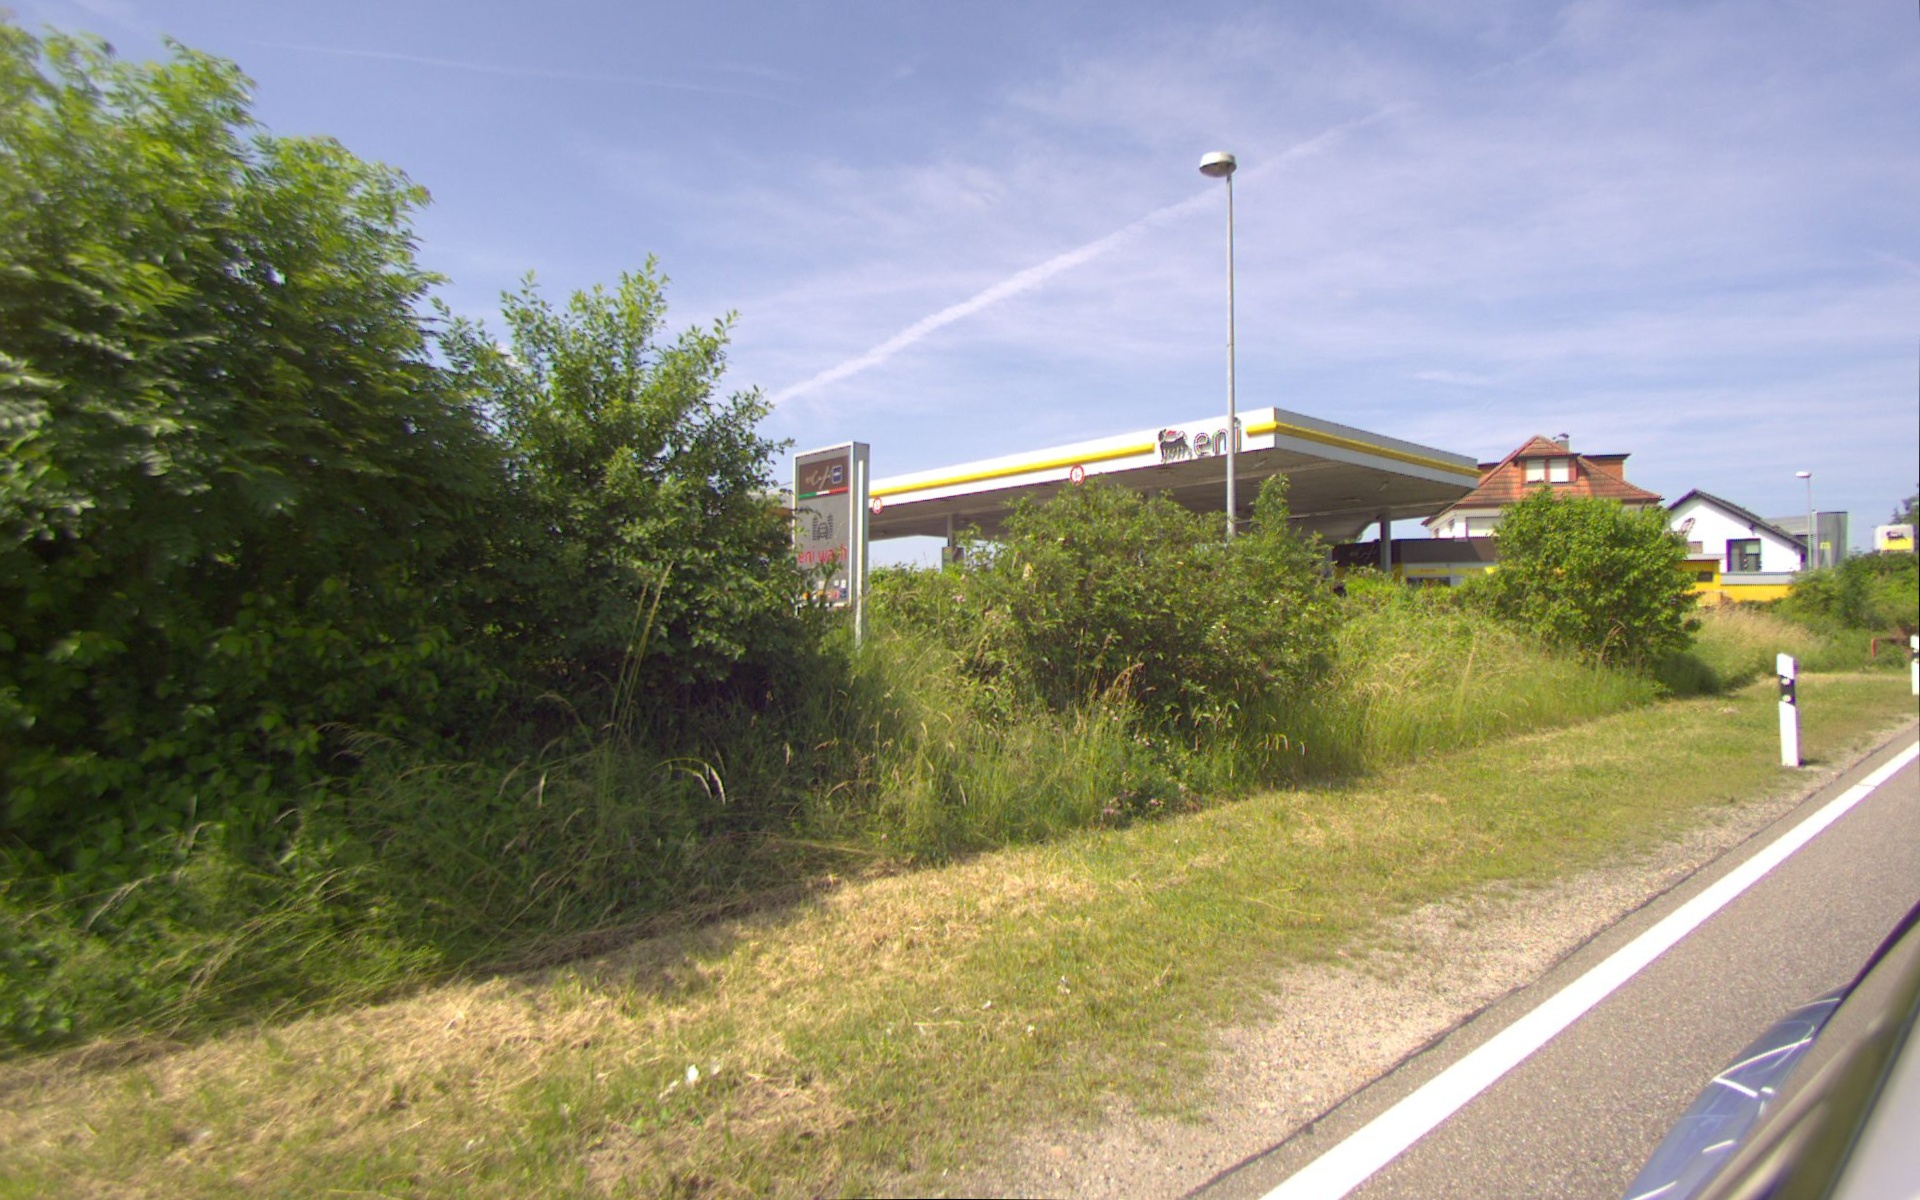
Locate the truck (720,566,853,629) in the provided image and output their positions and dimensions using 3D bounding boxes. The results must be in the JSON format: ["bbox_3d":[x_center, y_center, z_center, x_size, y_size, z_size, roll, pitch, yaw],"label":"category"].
[{"bbox_3d":[-10.587,-0.176,61.917,7.446,3.672,3.011,0,0,-32],"label":"truck"}]
